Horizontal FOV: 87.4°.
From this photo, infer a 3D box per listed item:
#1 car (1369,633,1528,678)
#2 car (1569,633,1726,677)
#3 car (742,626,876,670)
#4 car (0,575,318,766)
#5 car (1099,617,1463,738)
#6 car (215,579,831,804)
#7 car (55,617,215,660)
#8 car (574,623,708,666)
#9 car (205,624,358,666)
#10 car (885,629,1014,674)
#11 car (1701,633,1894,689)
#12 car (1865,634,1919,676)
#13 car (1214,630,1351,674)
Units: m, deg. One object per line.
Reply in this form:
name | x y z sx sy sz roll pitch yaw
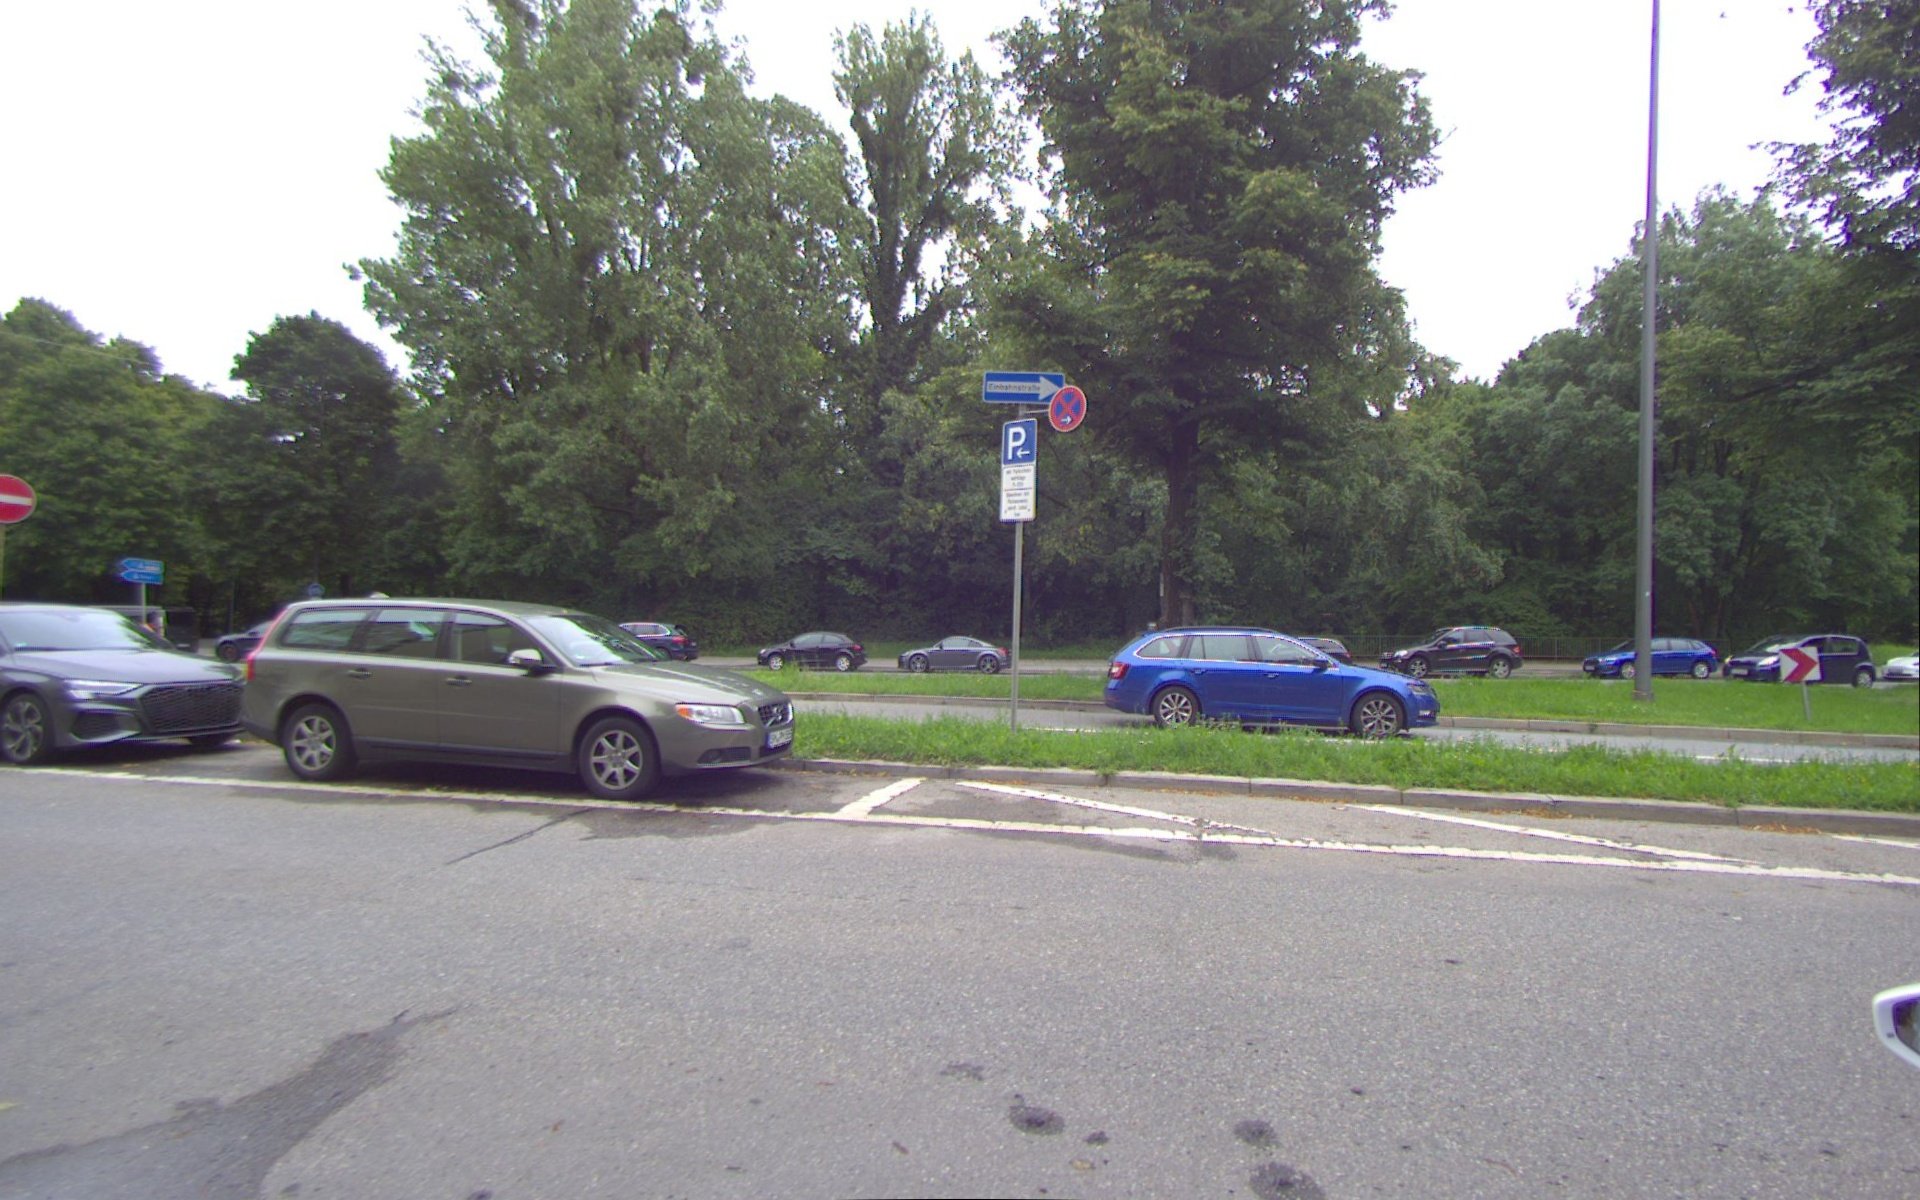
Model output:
car | 17.289 1.957 35.690 4.676 1.465 2.000 1 -2 -2
car | 24.542 1.952 35.959 4.338 1.465 2.000 1 -2 -3
car | -5.422 1.714 36.391 4.434 1.465 2.001 1 -2 4
car | -8.914 0.594 9.884 4.196 1.586 1.995 1 -1 14
car | 4.427 1.027 14.398 4.638 1.473 1.995 1 -1 14
car | -3.678 0.672 8.724 4.674 1.586 1.906 1 -1 14
car | -31.841 1.485 38.859 4.612 1.555 2.001 1 -2 4
car | -11.631 1.625 36.808 4.231 1.465 2.001 1 -2 4
car | -25.433 1.692 37.757 4.434 1.465 2.001 1 -2 4
car | -0.330 1.837 35.919 4.434 1.465 2.001 1 -2 4
car | 23.508 1.688 28.289 3.955 1.465 1.897 1 -1 -3
car | 35.597 2.016 36.149 4.338 1.465 2.000 1 -2 -3
car | 11.451 1.837 35.819 4.234 1.465 2.000 1 -2 -2
